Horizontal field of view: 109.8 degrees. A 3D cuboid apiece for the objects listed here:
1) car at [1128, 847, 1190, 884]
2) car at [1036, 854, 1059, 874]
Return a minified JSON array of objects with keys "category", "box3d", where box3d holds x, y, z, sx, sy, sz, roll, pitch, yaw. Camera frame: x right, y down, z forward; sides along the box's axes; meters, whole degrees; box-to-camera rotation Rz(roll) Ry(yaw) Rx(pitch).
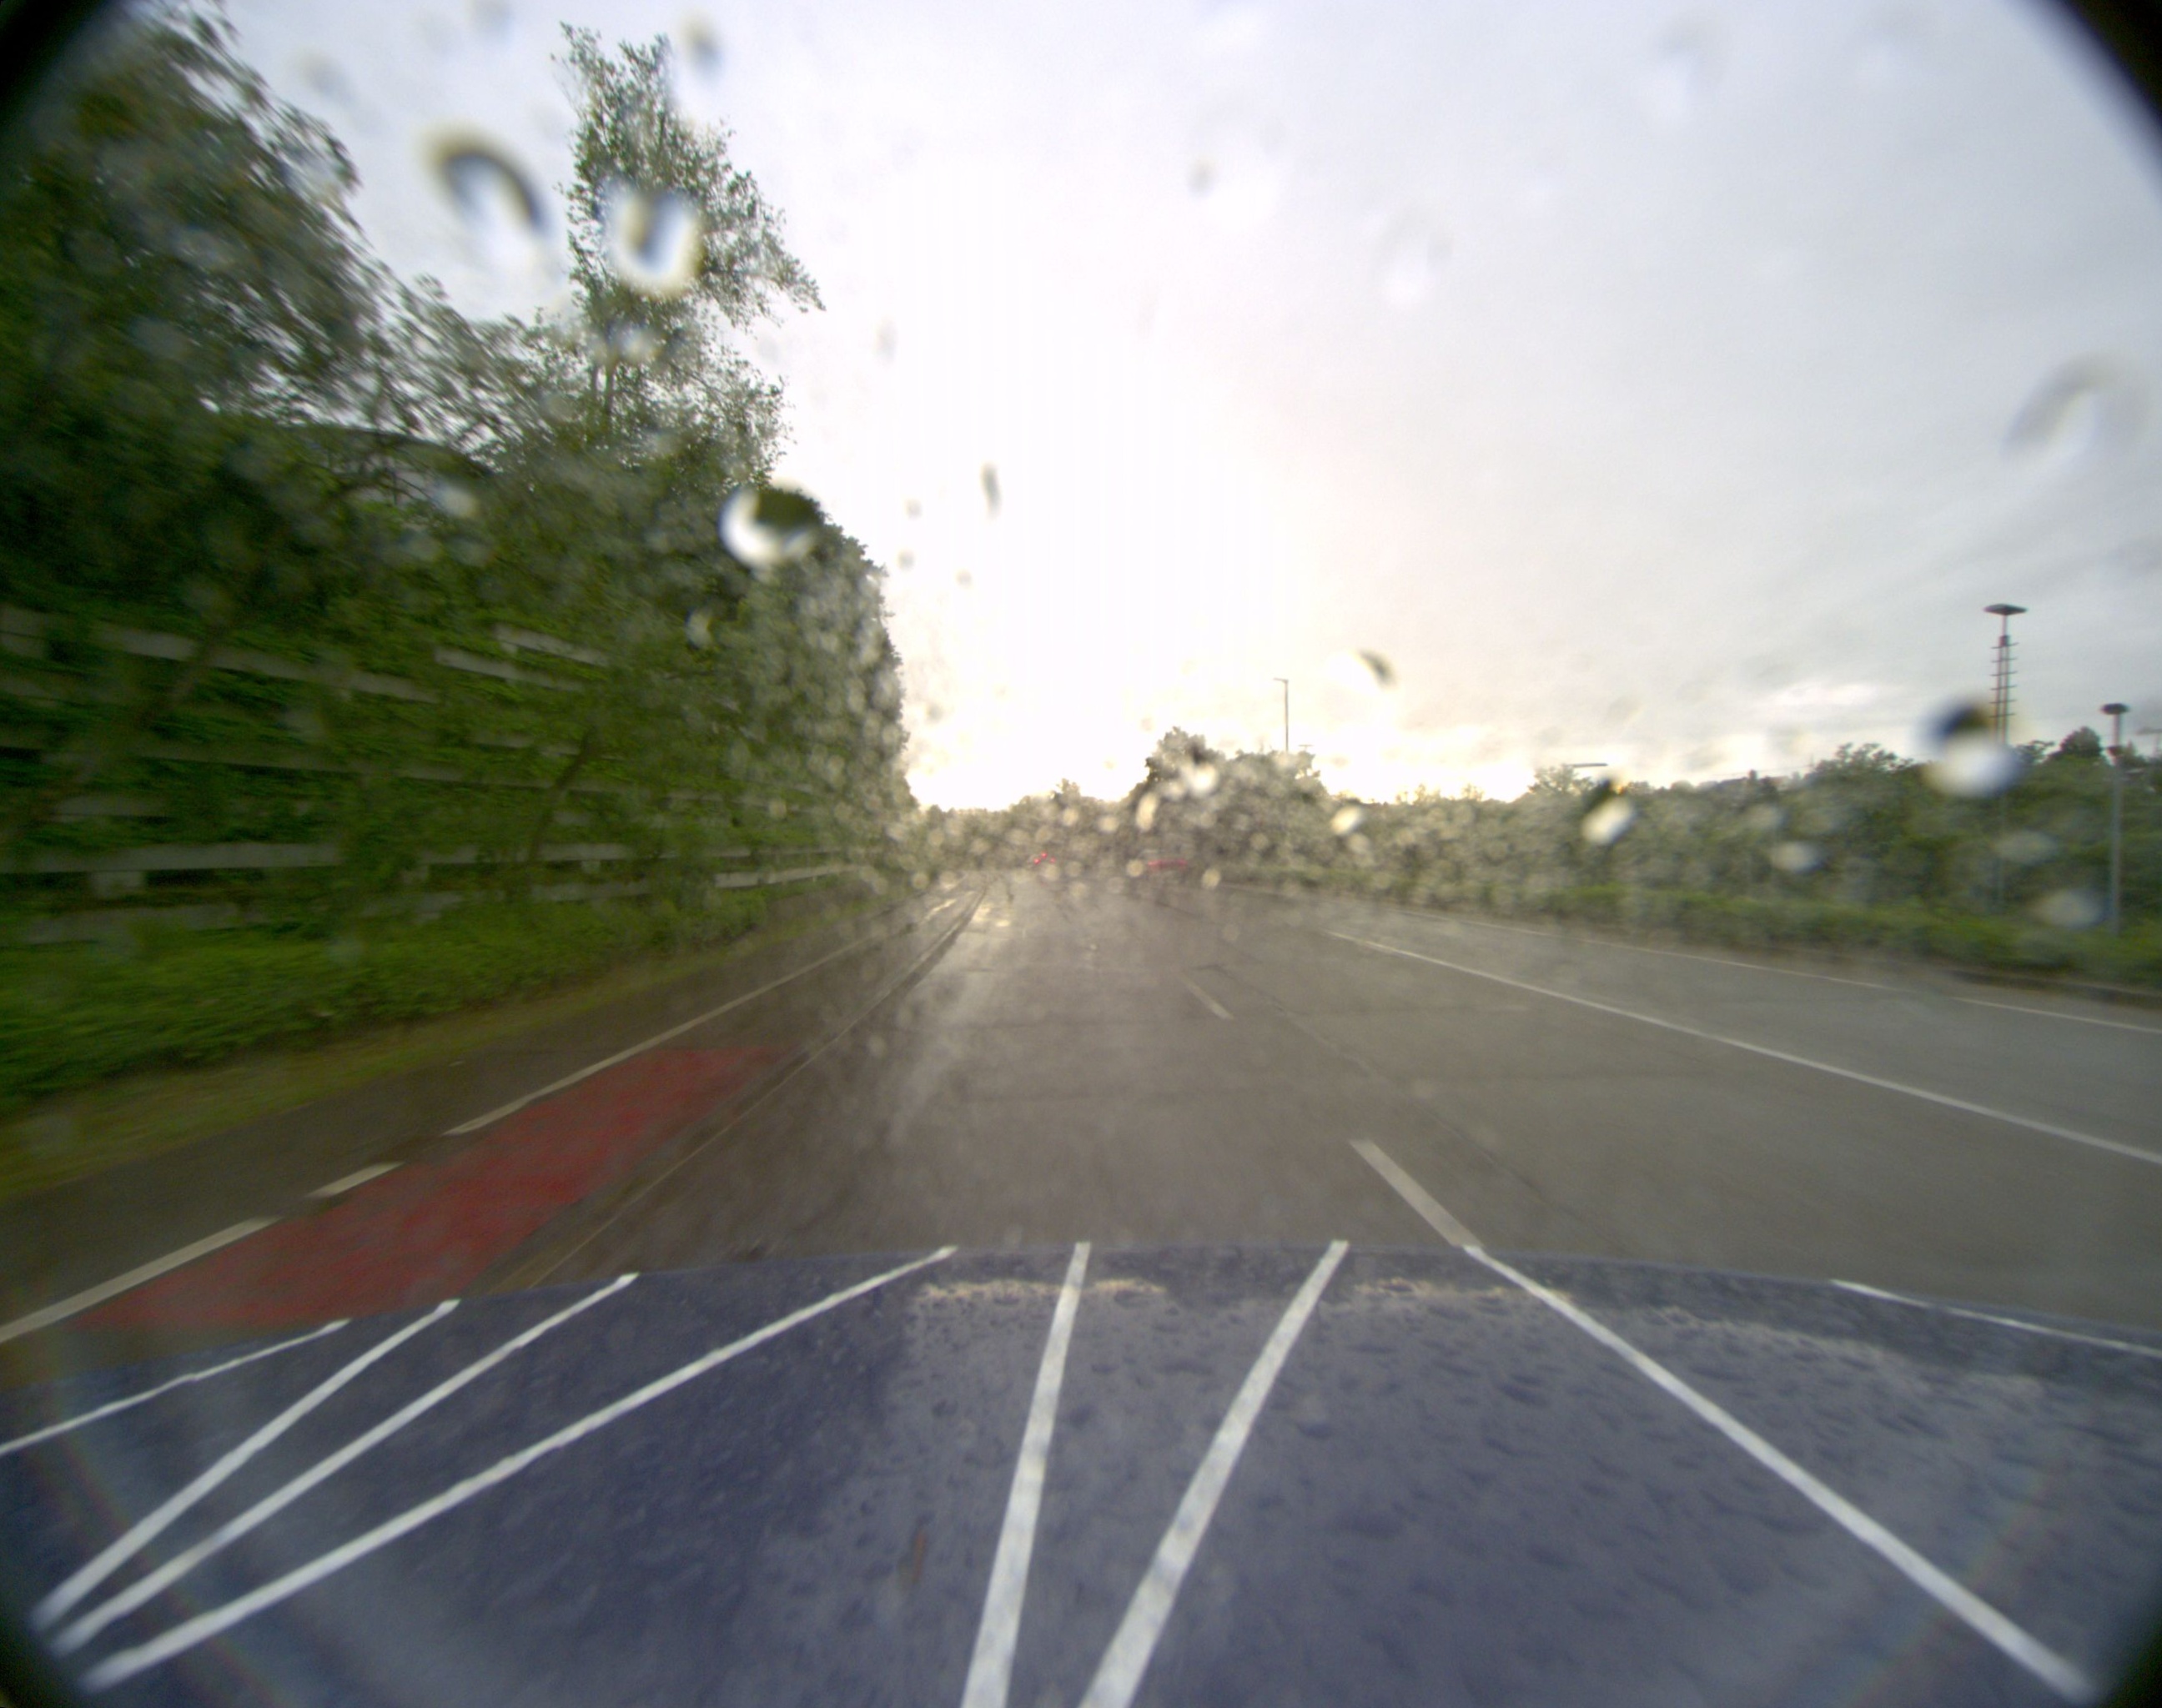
[{"category":"car","box3d":[3.397,0.498,33.775,1.760,1.526,3.997,0,0,-9]},{"category":"car","box3d":[-2.807,0.776,63.036,1.728,1.454,4.541,-2,1,-4]}]
